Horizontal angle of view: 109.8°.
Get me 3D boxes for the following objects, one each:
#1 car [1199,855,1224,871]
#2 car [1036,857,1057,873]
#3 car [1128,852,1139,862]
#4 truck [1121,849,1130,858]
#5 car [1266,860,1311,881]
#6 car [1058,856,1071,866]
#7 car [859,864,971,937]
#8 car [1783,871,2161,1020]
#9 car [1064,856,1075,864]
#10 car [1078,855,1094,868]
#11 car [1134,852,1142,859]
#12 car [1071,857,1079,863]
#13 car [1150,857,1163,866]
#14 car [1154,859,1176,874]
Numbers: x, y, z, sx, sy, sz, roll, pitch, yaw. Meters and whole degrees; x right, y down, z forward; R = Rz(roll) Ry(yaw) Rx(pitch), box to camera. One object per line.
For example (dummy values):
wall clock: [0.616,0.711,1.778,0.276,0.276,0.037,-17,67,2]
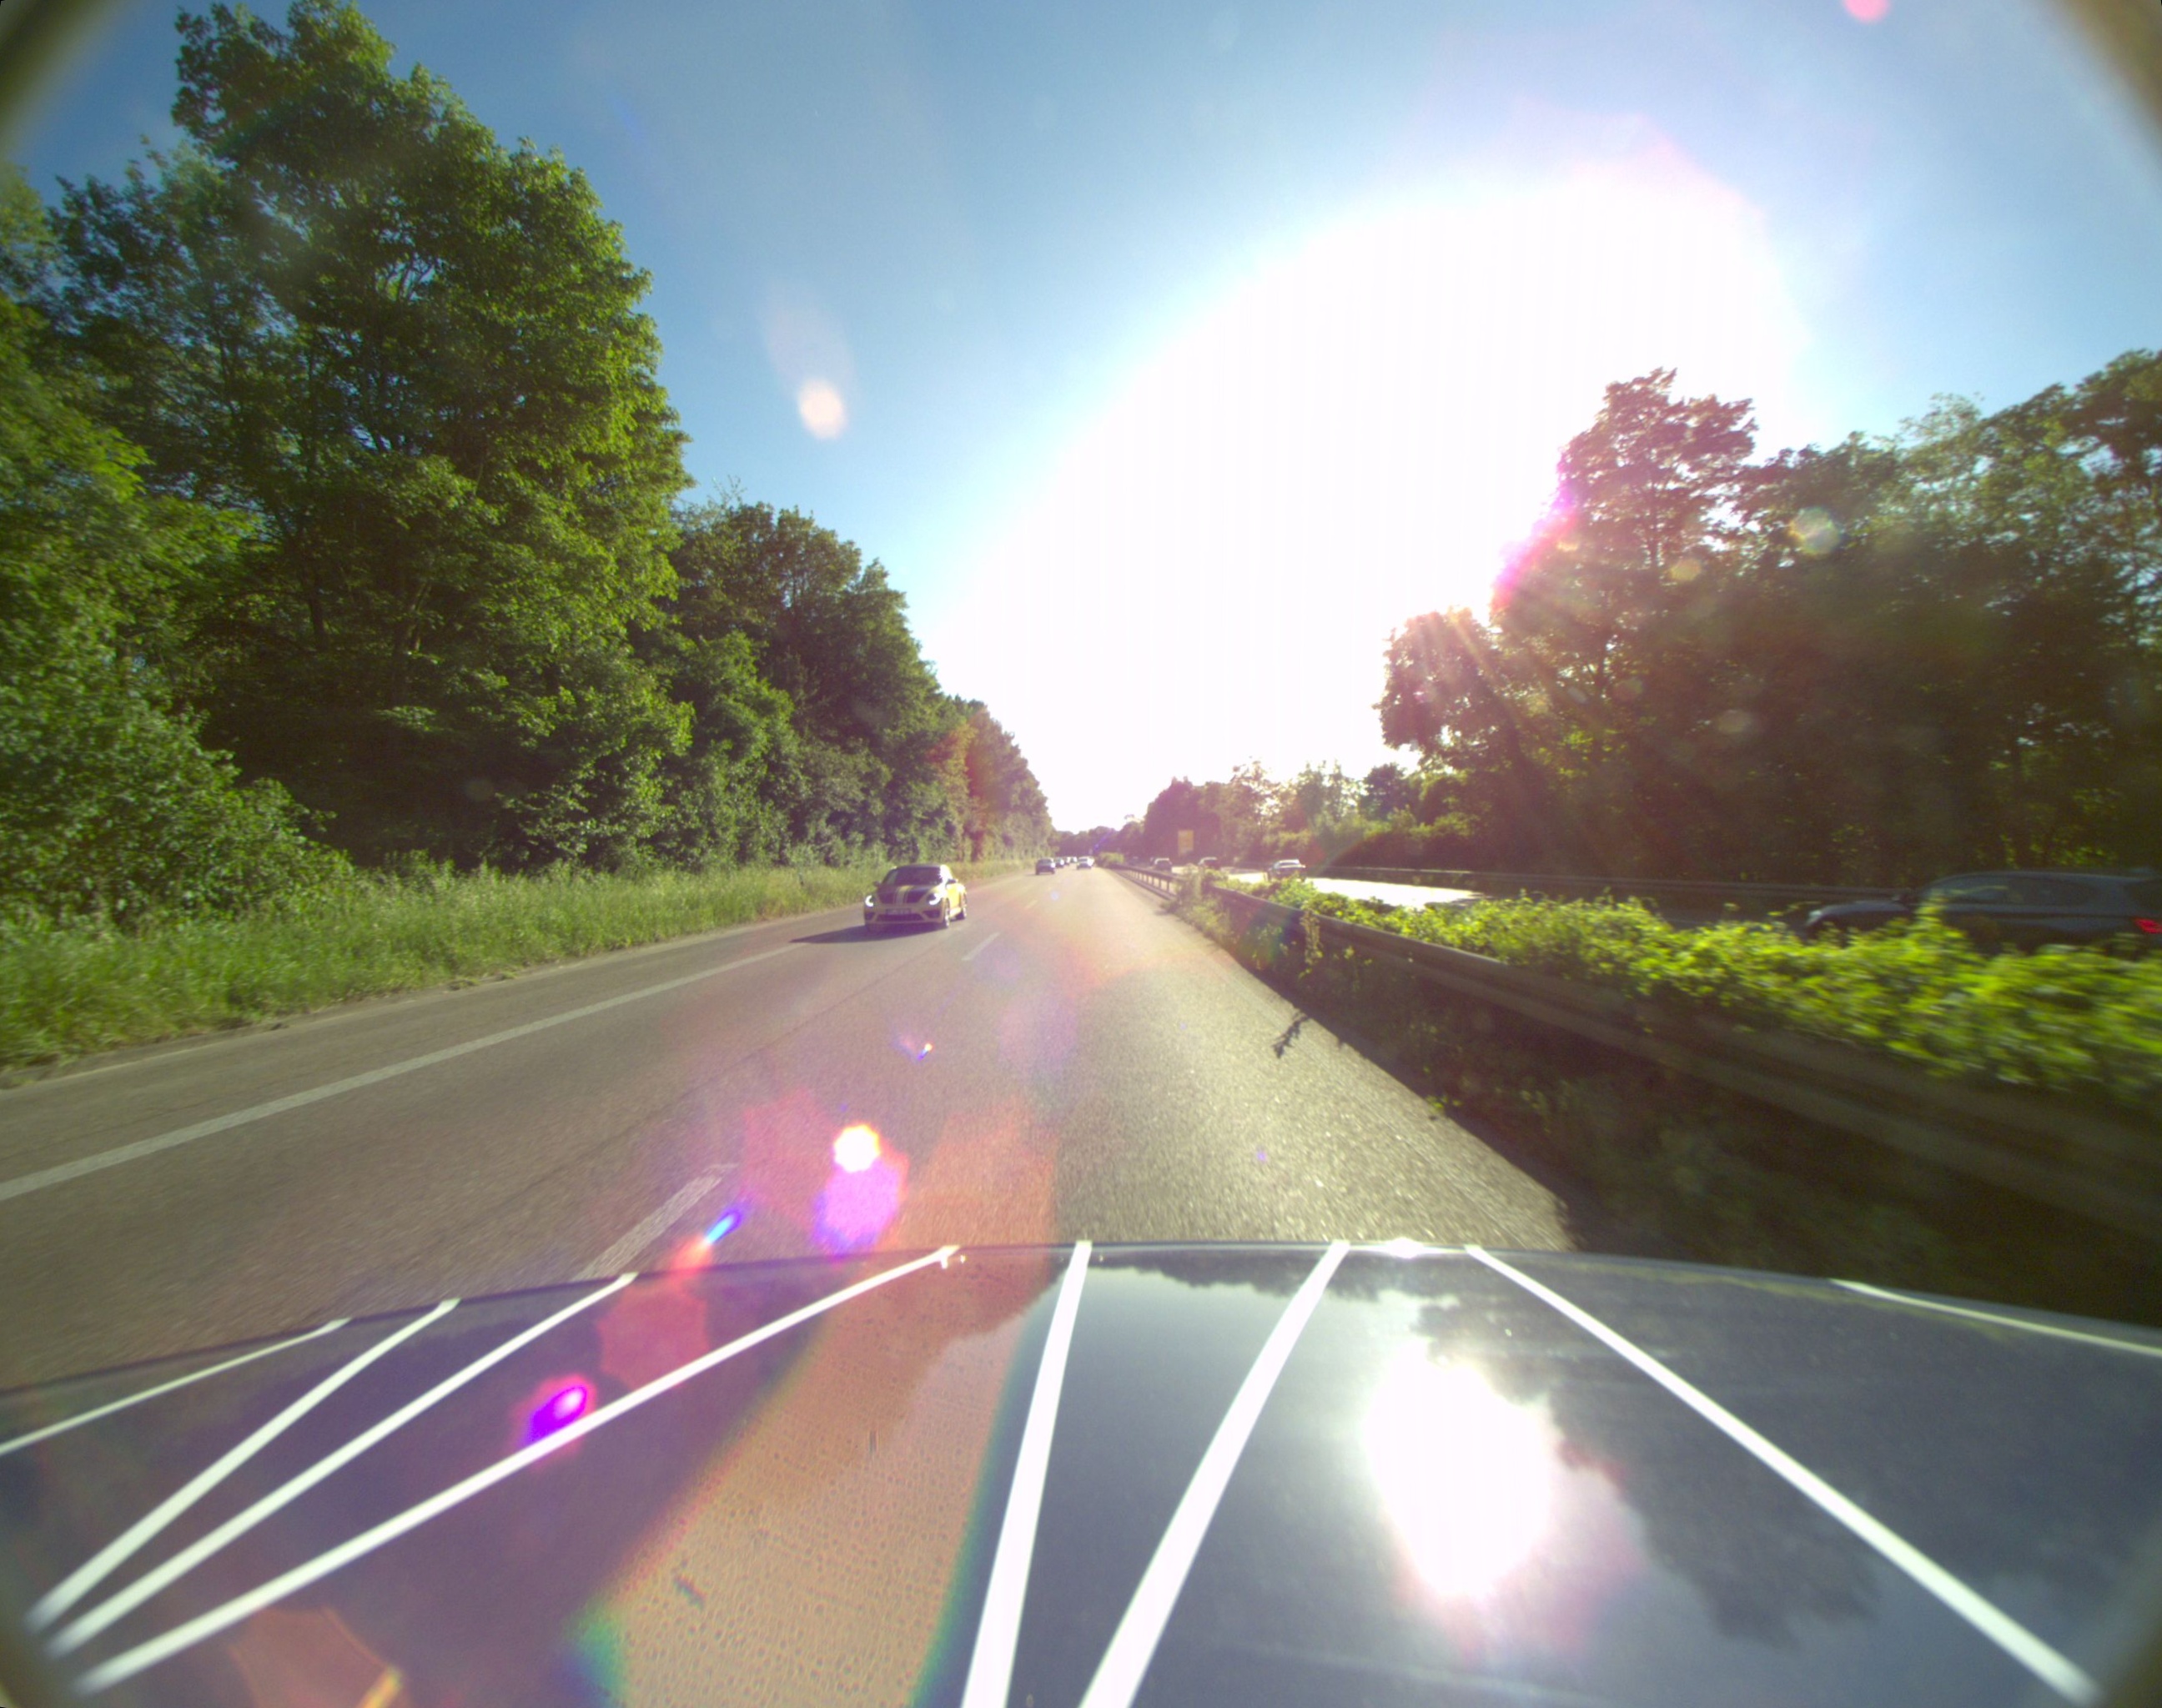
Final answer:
car: [13.122,0.902,76.701,1.752,1.417,4.136,-2,1,0]
car: [-3.222,1.006,72.446,1.794,1.440,3.877,-2,0,0]
car: [9.518,0.486,138.578,1.642,1.694,3.793,-2,1,0]
truck: [13.447,-0.163,228.277,2.167,2.570,6.943,-2,1,0]
car: [12.881,1.003,47.476,1.649,1.215,4.262,-1,0,0]
car: [-2.324,1.003,109.321,1.794,1.440,3.877,-2,0,0]
car: [-3.853,1.027,18.265,1.794,1.440,3.877,-2,0,0]
car: [11.984,0.991,9.754,1.737,1.400,4.556,-2,0,1]
car: [-2.037,1.046,136.846,1.794,1.440,3.877,-2,0,0]
car: [0.656,0.910,95.428,1.890,1.440,3.878,-2,0,1]
car: [13.829,0.403,183.538,1.642,1.540,3.793,-2,1,0]
car: [-1.467,1.426,192.199,1.794,1.440,3.877,-2,0,0]
car: [13.092,1.281,131.873,1.752,1.486,3.976,-2,1,0]
car: [9.250,1.380,83.924,1.752,1.417,5.204,-2,1,0]
